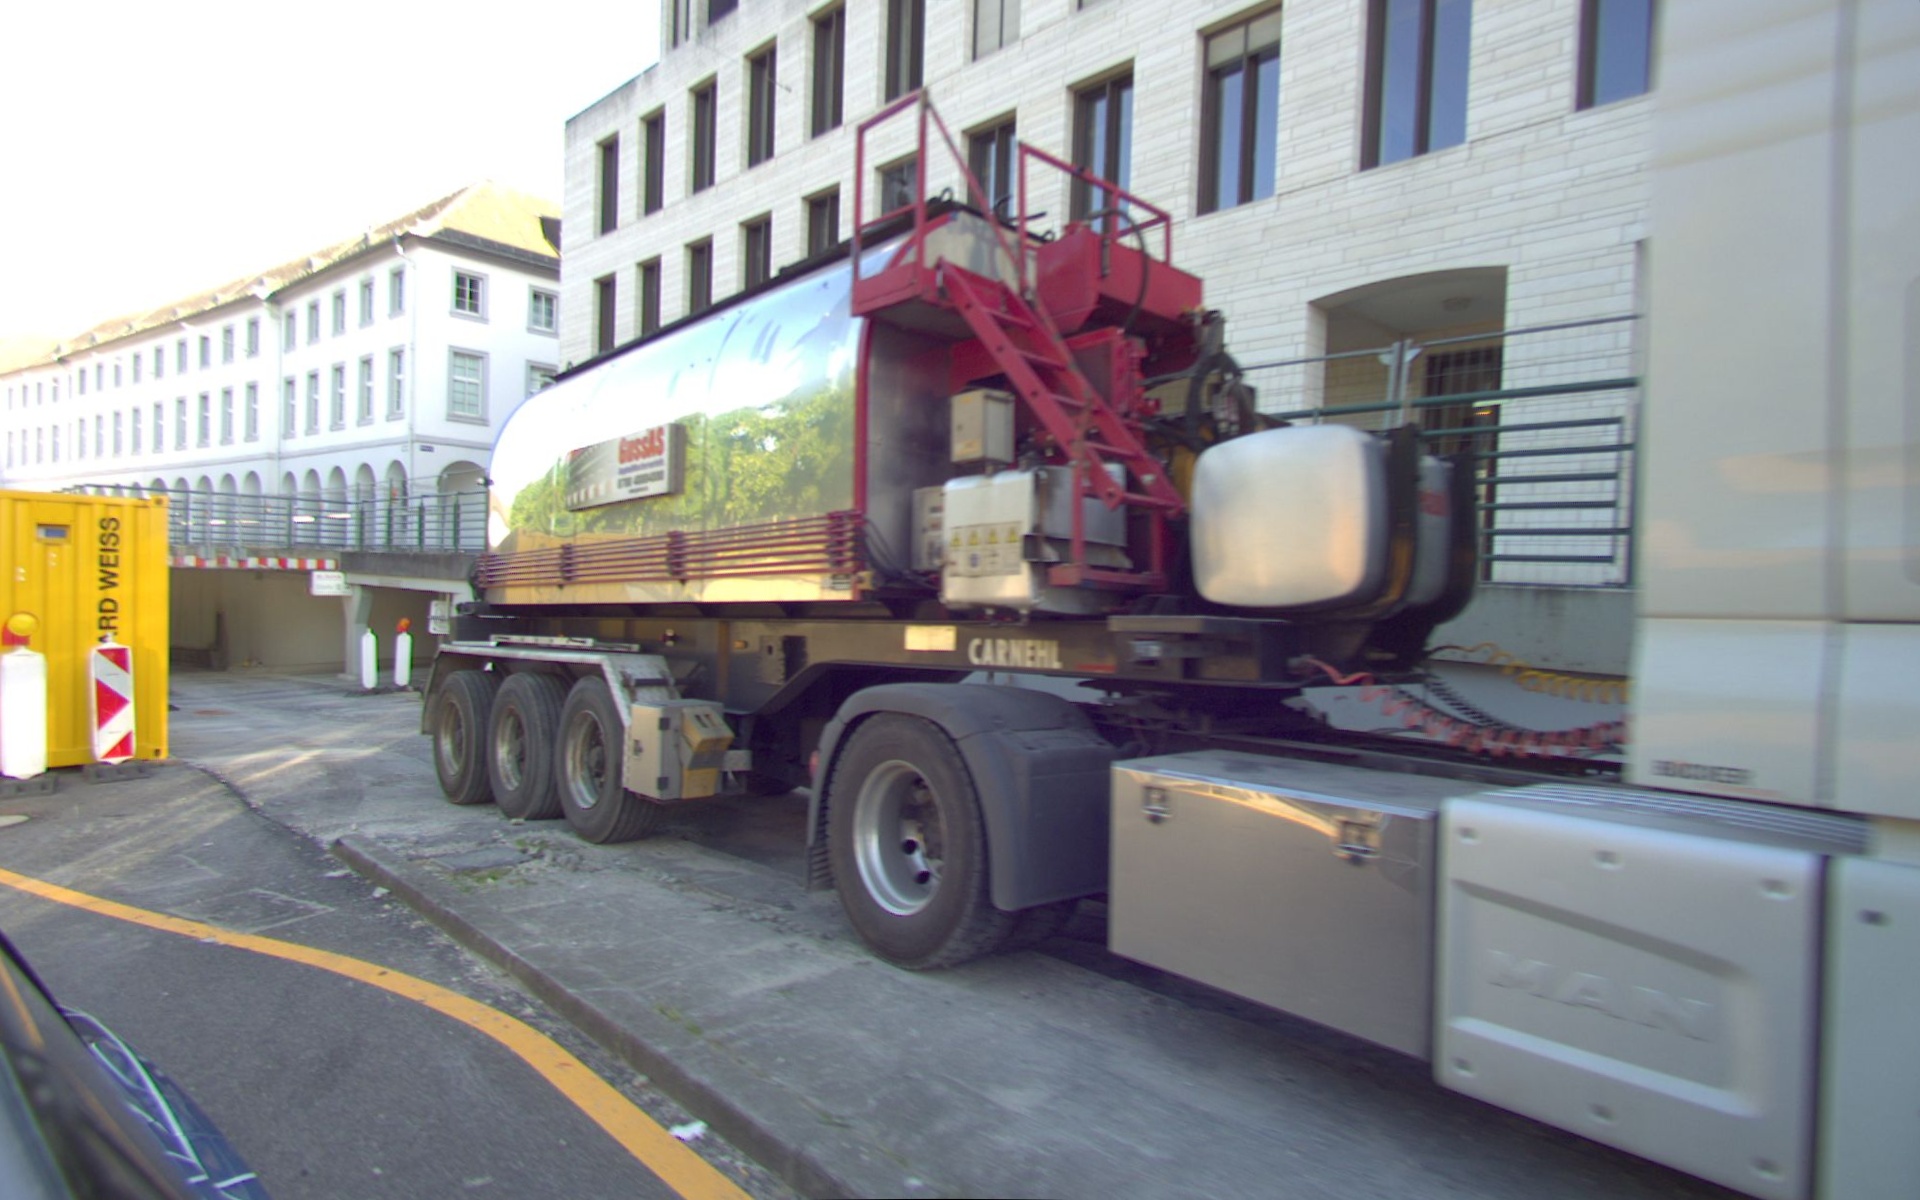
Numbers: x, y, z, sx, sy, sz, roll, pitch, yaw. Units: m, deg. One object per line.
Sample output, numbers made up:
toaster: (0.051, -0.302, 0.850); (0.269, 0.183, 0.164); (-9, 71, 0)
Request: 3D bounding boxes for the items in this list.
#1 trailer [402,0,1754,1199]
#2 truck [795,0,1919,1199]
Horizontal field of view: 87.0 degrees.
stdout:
trailer: (-0.732, -0.342, 6.389); (2.610, 3.697, 8.757); (6, -5, -43)
truck: (2.224, -0.324, 3.010); (2.547, 3.516, 5.824); (5, -4, -41)
